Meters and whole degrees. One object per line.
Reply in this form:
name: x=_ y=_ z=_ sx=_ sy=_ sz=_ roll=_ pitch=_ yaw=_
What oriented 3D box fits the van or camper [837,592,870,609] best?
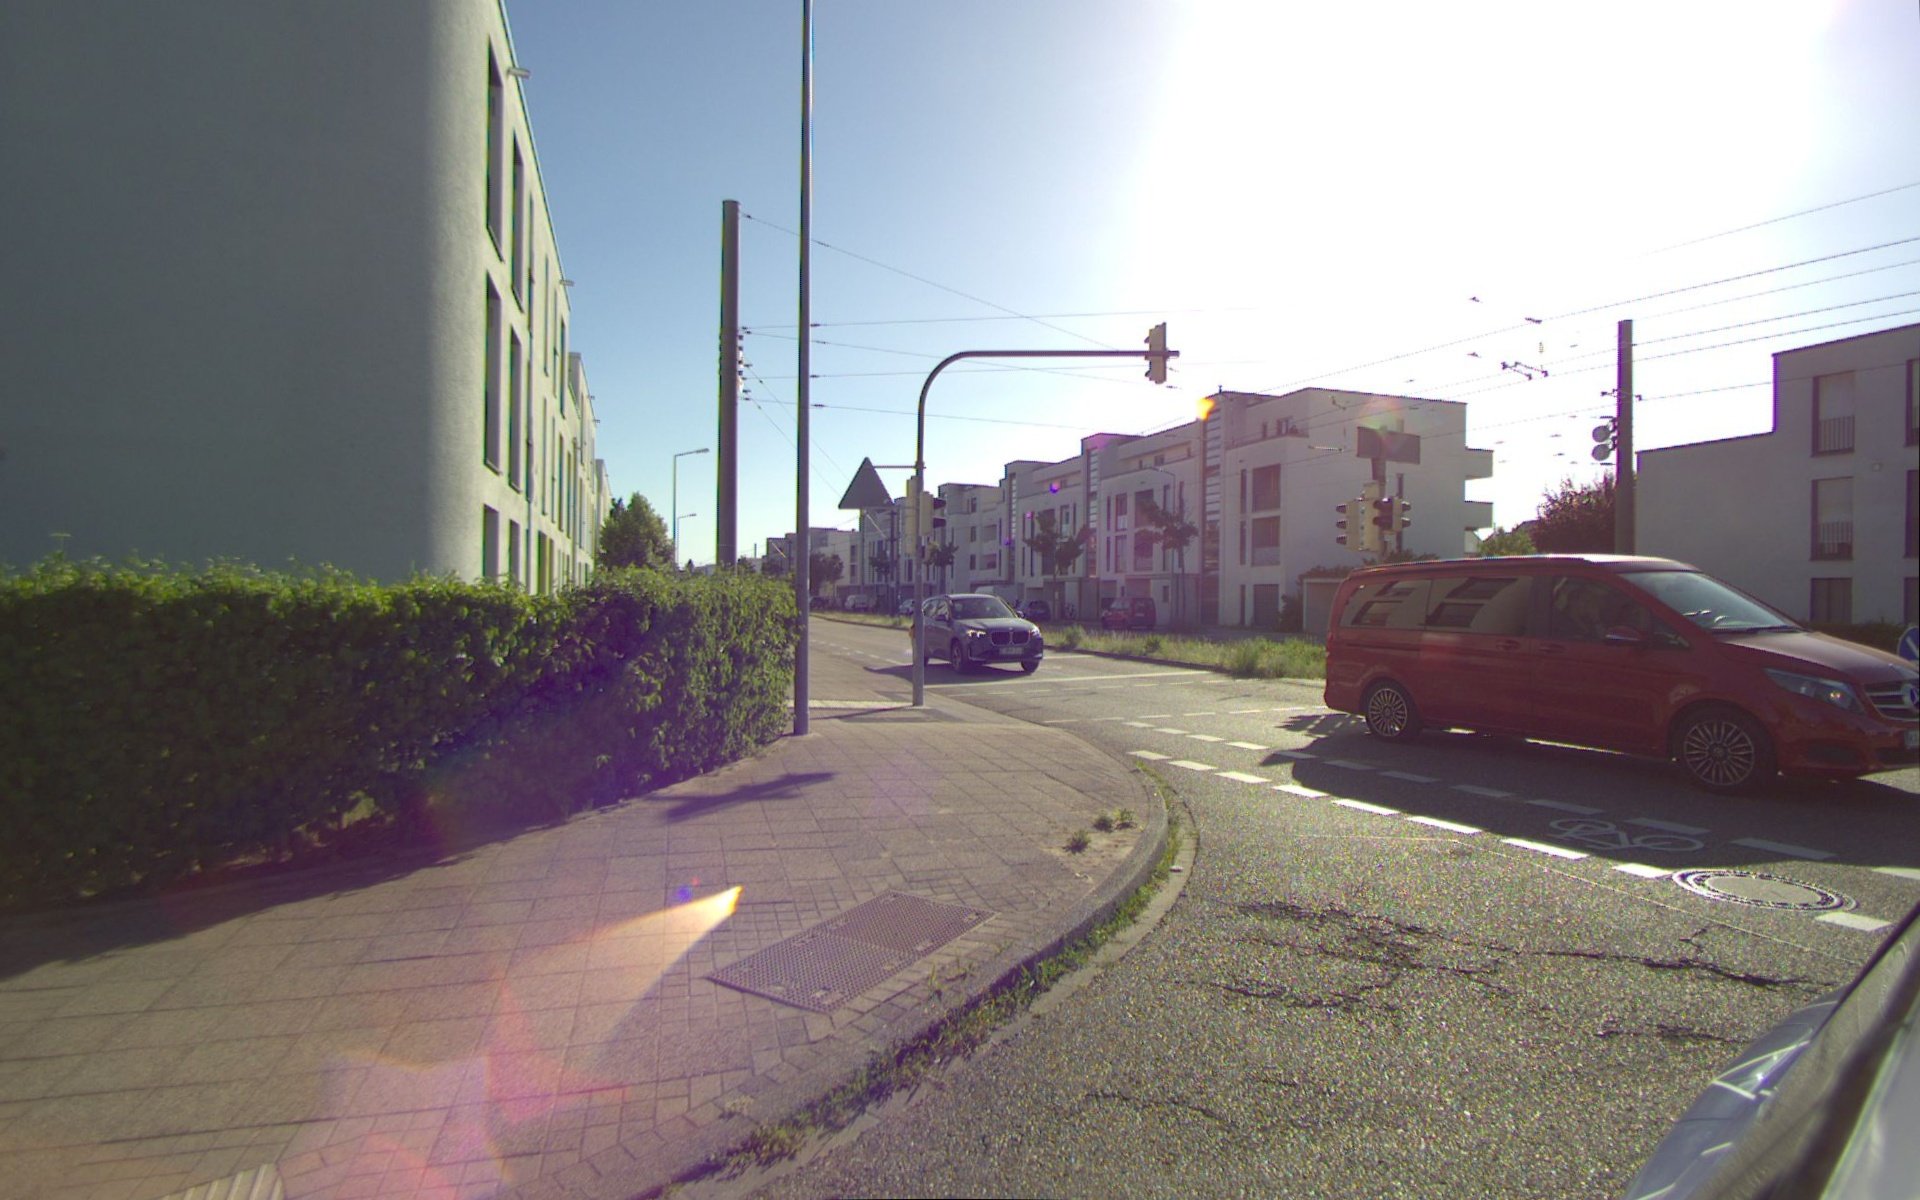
van or camper: x=-11.873 y=0.003 z=112.589 sx=2.226 sy=1.871 sz=6.299 roll=0 pitch=1 yaw=-19

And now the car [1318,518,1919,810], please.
car: x=6.105 y=0.405 z=9.670 sx=2.085 sy=1.994 sz=5.092 roll=-2 pitch=1 yaw=-25

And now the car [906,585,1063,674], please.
car: x=0.410 y=0.545 z=22.335 sx=1.958 sy=1.693 sz=4.417 roll=-1 pitch=1 yaw=-20

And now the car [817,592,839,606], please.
car: x=-16.098 y=-0.117 z=123.203 sx=1.829 sy=1.456 sz=3.506 roll=-2 pitch=3 yaw=-22

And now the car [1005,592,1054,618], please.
car: x=4.509 y=0.284 z=66.457 sx=1.895 sy=1.633 sz=3.844 roll=1 pitch=0 yaw=-18

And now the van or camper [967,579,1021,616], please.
van or camper: x=2.369 y=-0.191 z=72.883 sx=2.153 sy=2.496 sz=5.271 roll=1 pitch=0 yaw=-18

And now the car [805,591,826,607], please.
car: x=-18.634 y=-0.146 z=130.071 sx=1.751 sy=2.039 sz=4.008 roll=-2 pitch=1 yaw=-21

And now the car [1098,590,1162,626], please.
car: x=8.921 y=0.389 z=53.431 sx=1.757 sy=1.745 sz=3.916 roll=2 pitch=0 yaw=-17
